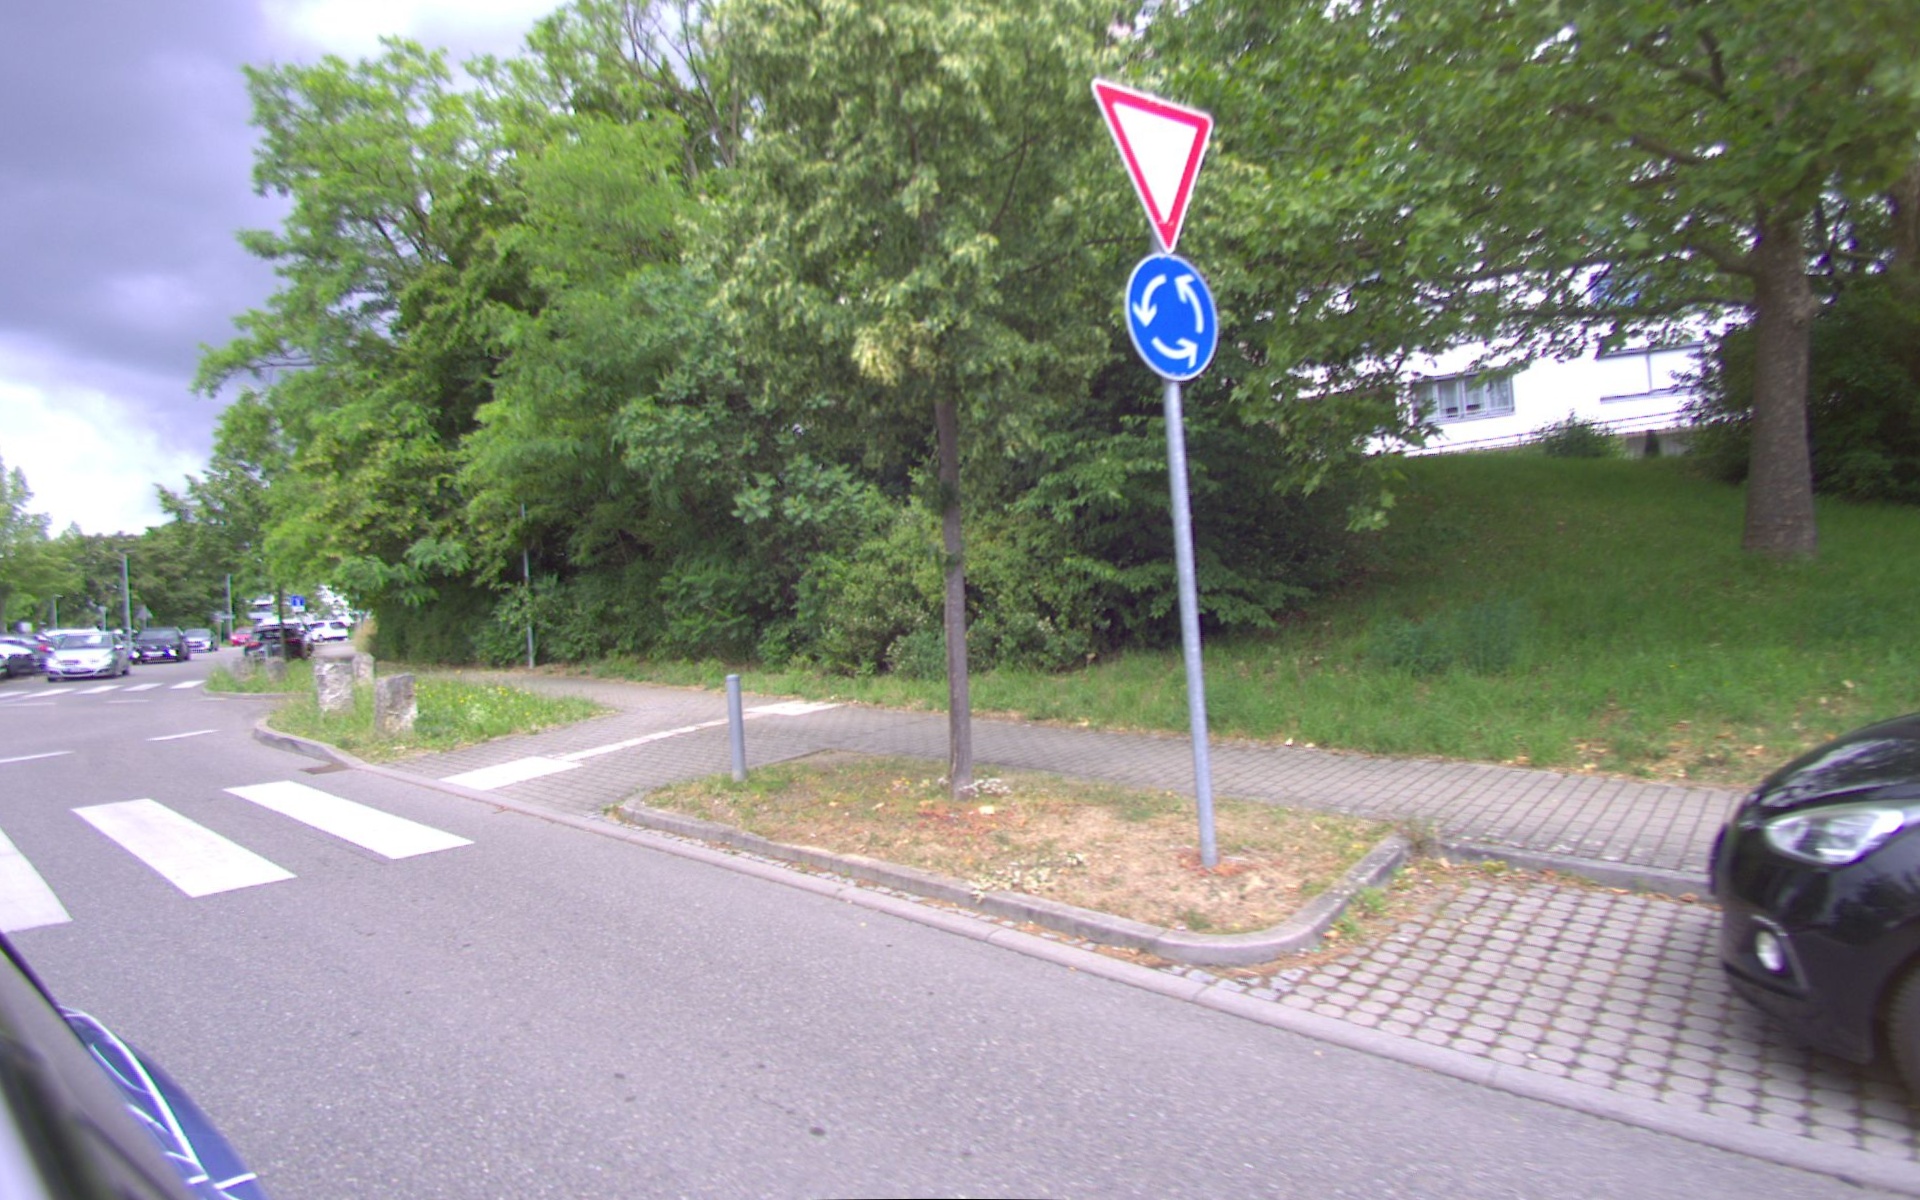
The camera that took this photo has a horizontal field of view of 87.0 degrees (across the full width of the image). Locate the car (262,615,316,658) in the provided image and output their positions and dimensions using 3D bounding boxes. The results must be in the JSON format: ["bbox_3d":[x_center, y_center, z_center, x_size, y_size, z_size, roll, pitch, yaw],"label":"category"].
[{"bbox_3d":[-30.415,1.671,45.964,1.783,1.676,4.449,-6,1,-32],"label":"car"}]

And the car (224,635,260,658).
[{"bbox_3d":[-57.806,3.720,81.487,1.730,1.628,4.013,-3,0,-27],"label":"car"}]

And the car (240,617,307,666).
[{"bbox_3d":[-24.469,1.455,36.171,1.667,1.475,4.469,-6,1,-32],"label":"car"}]

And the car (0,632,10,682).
[{"bbox_3d":[-32.769,1.927,31.685,4.095,1.614,1.743,-3,0,-33],"label":"car"}]

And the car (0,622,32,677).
[{"bbox_3d":[-34.210,1.712,33.695,4.712,1.845,1.847,0,-1,-37],"label":"car"}]

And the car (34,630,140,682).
[{"bbox_3d":[-29.432,1.852,34.253,1.730,1.527,4.013,-3,0,-27],"label":"car"}]

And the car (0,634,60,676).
[{"bbox_3d":[-36.874,2.114,38.423,3.772,1.531,1.917,0,-1,-33],"label":"car"}]

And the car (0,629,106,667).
[{"bbox_3d":[-42.767,2.235,47.656,3.619,1.659,1.857,-1,-1,-30],"label":"car"}]

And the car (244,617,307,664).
[{"bbox_3d":[-27.514,1.578,40.770,1.775,1.627,4.491,-6,2,-32],"label":"car"}]

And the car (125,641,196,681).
[{"bbox_3d":[-36.850,2.760,46.745,1.730,1.628,4.013,-3,0,-27],"label":"car"}]

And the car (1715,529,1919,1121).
[{"bbox_3d":[4.143,0.523,2.021,1.766,1.478,4.003,-5,3,-44],"label":"car"}]

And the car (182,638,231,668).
[{"bbox_3d":[-46.433,3.237,62.442,1.730,1.628,4.013,-3,0,-27],"label":"car"}]

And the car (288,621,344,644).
[{"bbox_3d":[-52.040,2.632,81.784,3.968,1.652,1.662,-3,0,19],"label":"car"}]
